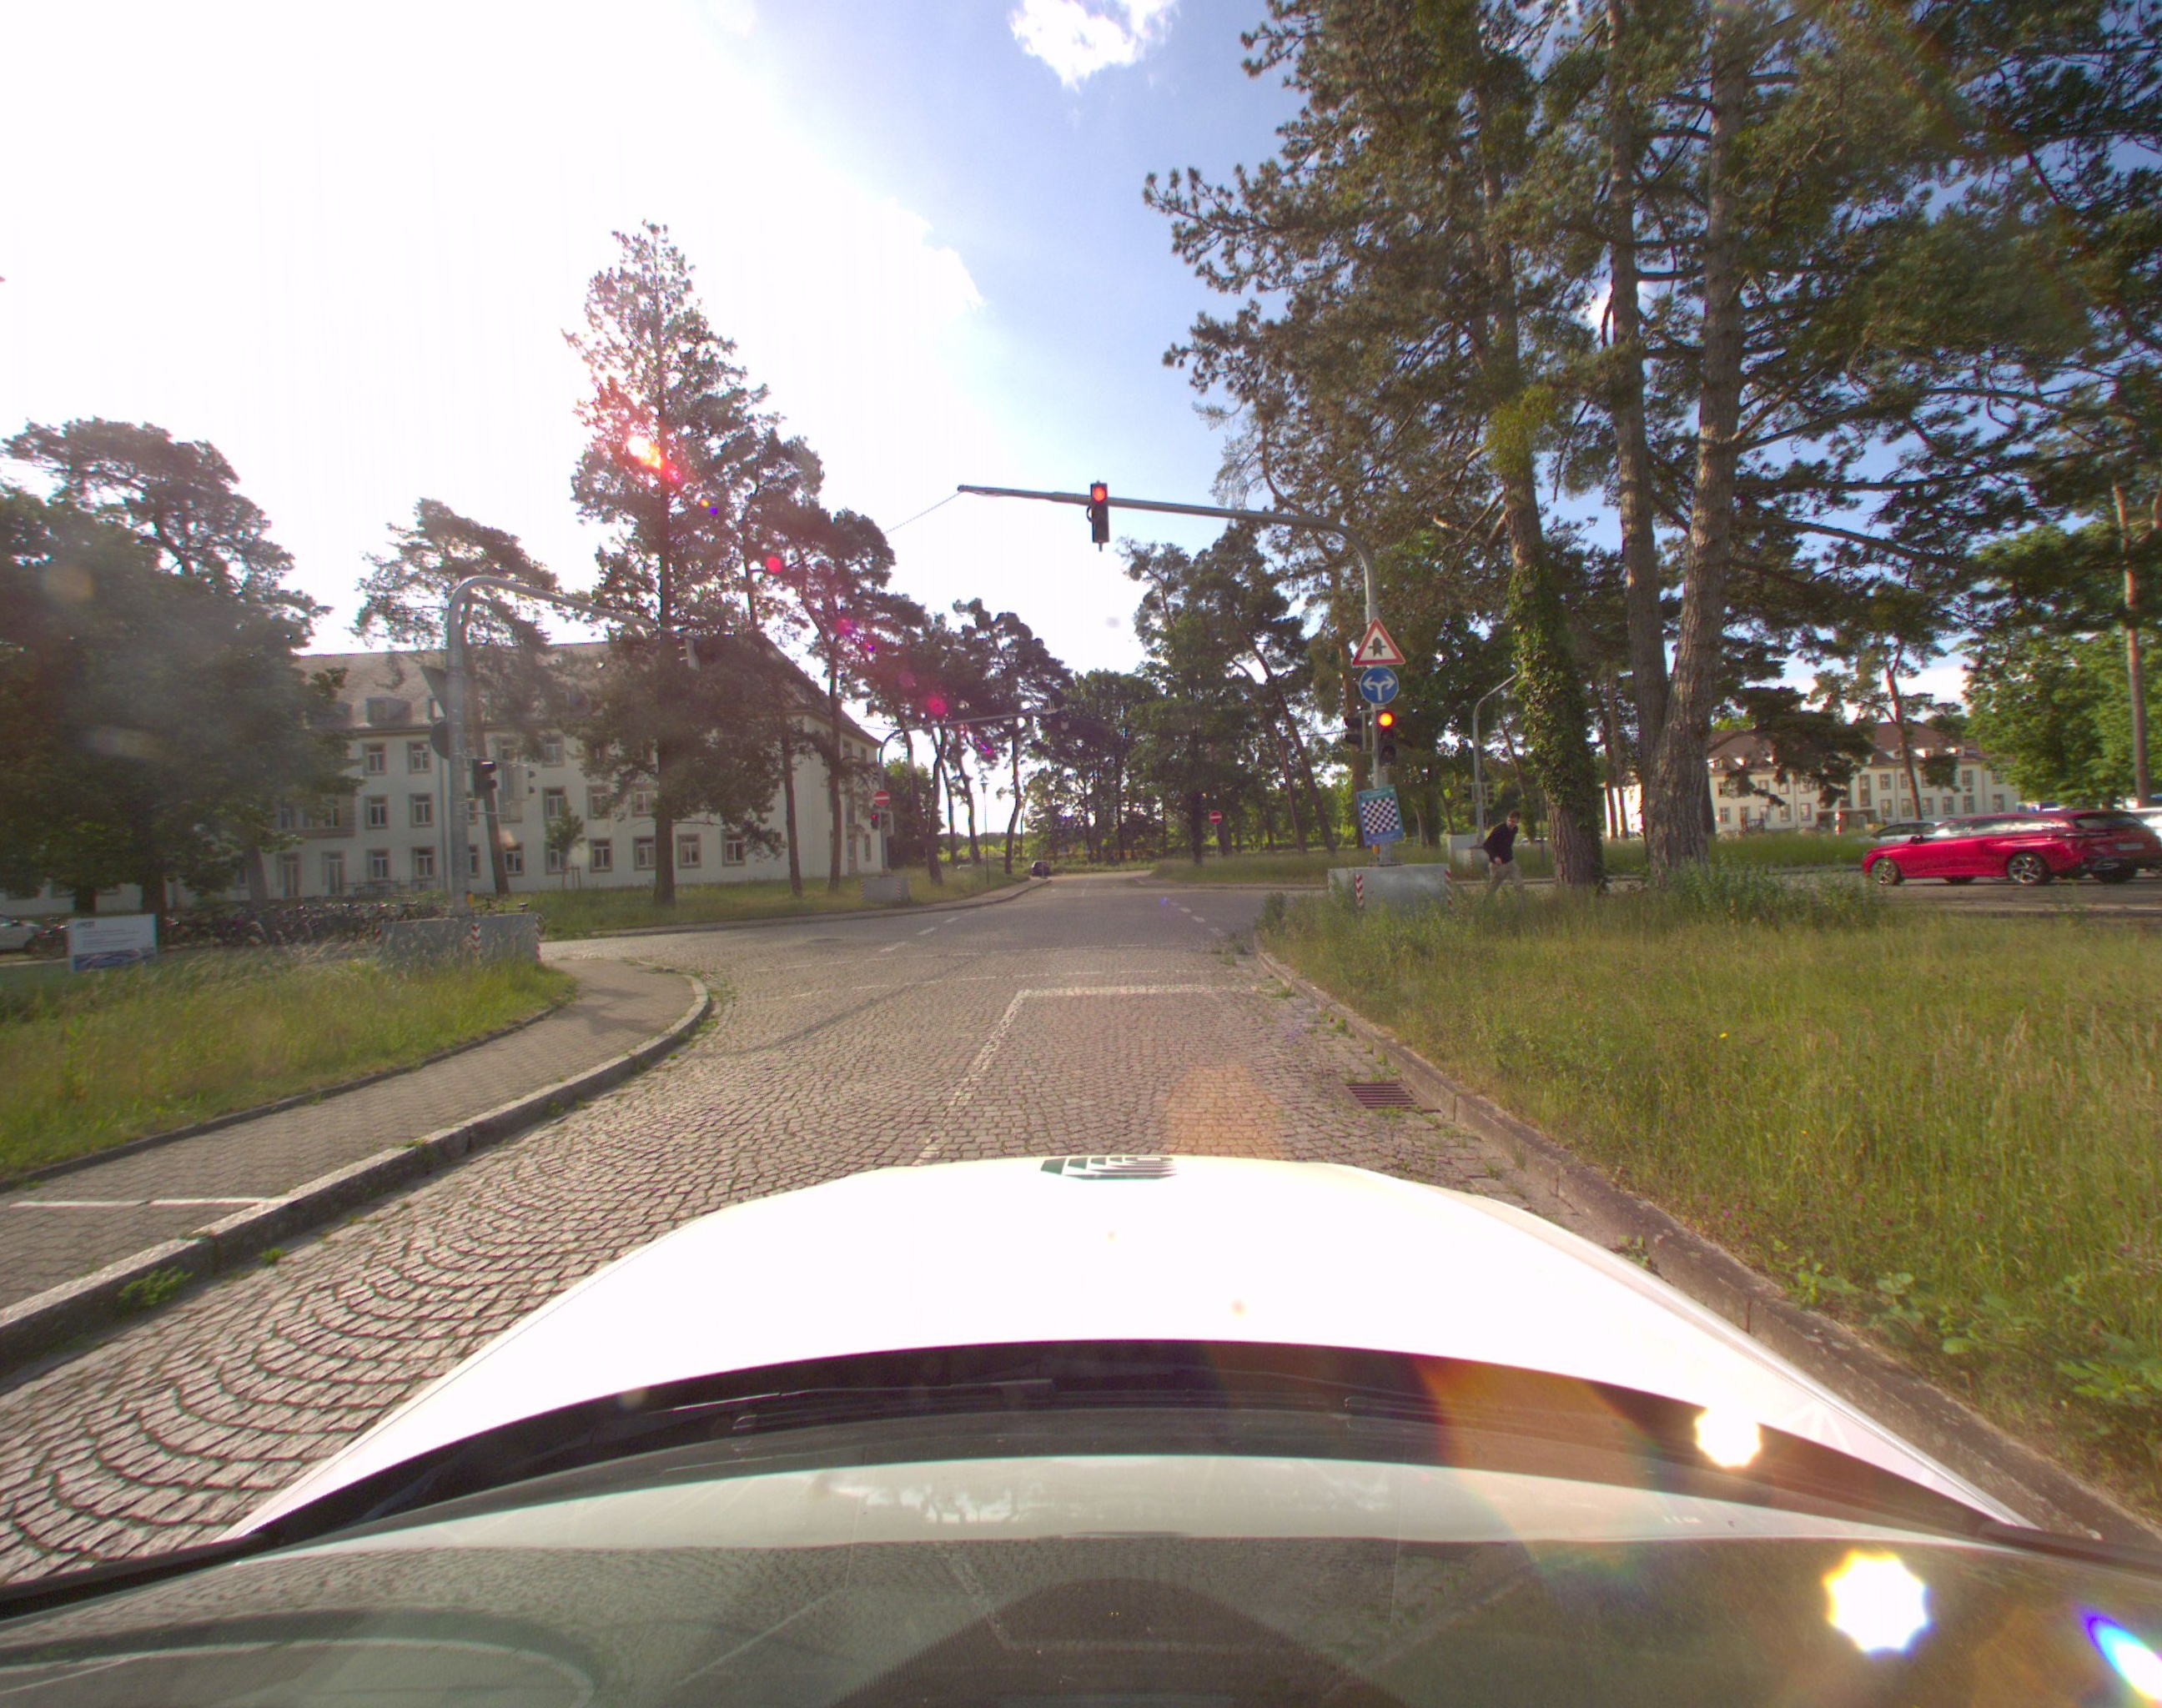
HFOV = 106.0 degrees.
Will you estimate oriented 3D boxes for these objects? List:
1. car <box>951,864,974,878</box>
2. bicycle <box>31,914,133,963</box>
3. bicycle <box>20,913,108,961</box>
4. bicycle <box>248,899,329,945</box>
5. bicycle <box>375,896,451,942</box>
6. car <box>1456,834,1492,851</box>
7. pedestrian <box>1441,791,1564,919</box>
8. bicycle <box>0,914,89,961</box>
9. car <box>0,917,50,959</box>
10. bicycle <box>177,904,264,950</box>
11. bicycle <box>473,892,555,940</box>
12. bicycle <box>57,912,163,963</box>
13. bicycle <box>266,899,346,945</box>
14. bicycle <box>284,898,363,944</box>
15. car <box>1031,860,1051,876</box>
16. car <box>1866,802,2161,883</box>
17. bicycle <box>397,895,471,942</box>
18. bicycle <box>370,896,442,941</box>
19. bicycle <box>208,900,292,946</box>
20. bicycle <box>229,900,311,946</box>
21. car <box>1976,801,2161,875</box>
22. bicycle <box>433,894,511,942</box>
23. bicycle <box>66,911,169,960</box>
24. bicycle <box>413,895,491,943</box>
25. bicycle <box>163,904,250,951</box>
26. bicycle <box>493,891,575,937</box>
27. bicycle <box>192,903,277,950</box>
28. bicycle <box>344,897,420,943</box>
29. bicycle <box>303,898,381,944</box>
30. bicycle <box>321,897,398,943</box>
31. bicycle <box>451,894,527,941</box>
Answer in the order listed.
[{"bbox_3d":[-11.811,1.716,81.514,1.705,1.274,3.917,-3,0,-1],"label":"car"},{"bbox_3d":[-29.126,2.435,23.778,0.509,1.220,1.841,-3,0,38],"label":"bicycle"},{"bbox_3d":[-30.463,2.466,24.430,0.514,1.220,1.823,-3,0,-9],"label":"bicycle"},{"bbox_3d":[-24.119,2.051,24.843,0.512,1.220,1.937,-3,0,1],"label":"bicycle"},{"bbox_3d":[-20.244,1.946,24.736,0.576,1.220,2.029,-3,0,1],"label":"bicycle"},{"bbox_3d":[41.444,-1.214,86.032,1.820,1.582,4.163,-3,0,1],"label":"car"},{"bbox_3d":[6.409,0.011,12.431,1.170,1.796,1.057,-3,0,-15],"label":"pedestrian"},{"bbox_3d":[-31.069,2.484,24.415,0.513,1.220,1.824,-3,0,-7],"label":"bicycle"},{"bbox_3d":[-34.054,2.674,24.433,1.504,1.211,3.596,-3,0,3],"label":"car"},{"bbox_3d":[-26.210,2.204,24.859,0.512,1.220,1.937,-3,0,1],"label":"bicycle"},{"bbox_3d":[-16.322,1.780,23.450,1.855,1.220,0.635,-3,0,0],"label":"bicycle"},{"bbox_3d":[-27.626,2.356,23.209,1.837,1.220,0.510,-3,0,-35],"label":"bicycle"},{"bbox_3d":[-23.574,2.035,24.819,0.512,1.220,1.937,-3,0,1],"label":"bicycle"},{"bbox_3d":[-23.019,2.019,24.807,0.512,1.220,1.954,-3,0,1],"label":"bicycle"},{"bbox_3d":[-3.926,1.379,80.681,1.705,1.496,3.917,-3,0,-1],"label":"car"},{"bbox_3d":[18.792,-0.165,16.578,1.649,1.399,4.130,-2,-1,1],"label":"car"},{"bbox_3d":[-19.499,1.922,24.604,0.570,1.220,1.990,-3,0,1],"label":"bicycle"},{"bbox_3d":[-20.809,1.961,25.161,0.546,1.220,1.900,-3,0,1],"label":"bicycle"},{"bbox_3d":[-25.322,2.086,24.854,0.512,1.220,1.937,-3,0,1],"label":"bicycle"},{"bbox_3d":[-24.711,2.068,24.864,0.512,1.220,1.937,-3,0,1],"label":"bicycle"},{"bbox_3d":[21.658,-0.328,16.730,1.773,1.379,4.239,-3,-2,0],"label":"car"},{"bbox_3d":[-18.047,1.878,24.207,0.631,1.220,2.124,-3,0,1],"label":"bicycle"},{"bbox_3d":[-28.016,2.362,23.719,1.837,1.220,0.510,-3,0,-35],"label":"bicycle"},{"bbox_3d":[-18.651,1.896,24.216,0.631,1.220,2.104,-3,0,1],"label":"bicycle"},{"bbox_3d":[-26.658,2.217,24.868,0.512,1.220,1.937,-3,0,1],"label":"bicycle"},{"bbox_3d":[-16.206,1.758,24.164,1.938,1.220,0.635,-3,0,0],"label":"bicycle"},{"bbox_3d":[-25.781,2.191,24.858,0.512,1.220,1.937,-3,0,1],"label":"bicycle"},{"bbox_3d":[-21.327,1.977,24.887,0.512,1.220,2.016,-3,0,1],"label":"bicycle"},{"bbox_3d":[-22.493,2.006,24.838,0.512,1.220,1.977,-3,0,1],"label":"bicycle"},{"bbox_3d":[-21.975,1.995,24.842,0.512,1.220,1.977,-3,0,1],"label":"bicycle"},{"bbox_3d":[-17.564,1.863,24.214,0.631,1.220,2.114,-3,0,1],"label":"bicycle"}]
